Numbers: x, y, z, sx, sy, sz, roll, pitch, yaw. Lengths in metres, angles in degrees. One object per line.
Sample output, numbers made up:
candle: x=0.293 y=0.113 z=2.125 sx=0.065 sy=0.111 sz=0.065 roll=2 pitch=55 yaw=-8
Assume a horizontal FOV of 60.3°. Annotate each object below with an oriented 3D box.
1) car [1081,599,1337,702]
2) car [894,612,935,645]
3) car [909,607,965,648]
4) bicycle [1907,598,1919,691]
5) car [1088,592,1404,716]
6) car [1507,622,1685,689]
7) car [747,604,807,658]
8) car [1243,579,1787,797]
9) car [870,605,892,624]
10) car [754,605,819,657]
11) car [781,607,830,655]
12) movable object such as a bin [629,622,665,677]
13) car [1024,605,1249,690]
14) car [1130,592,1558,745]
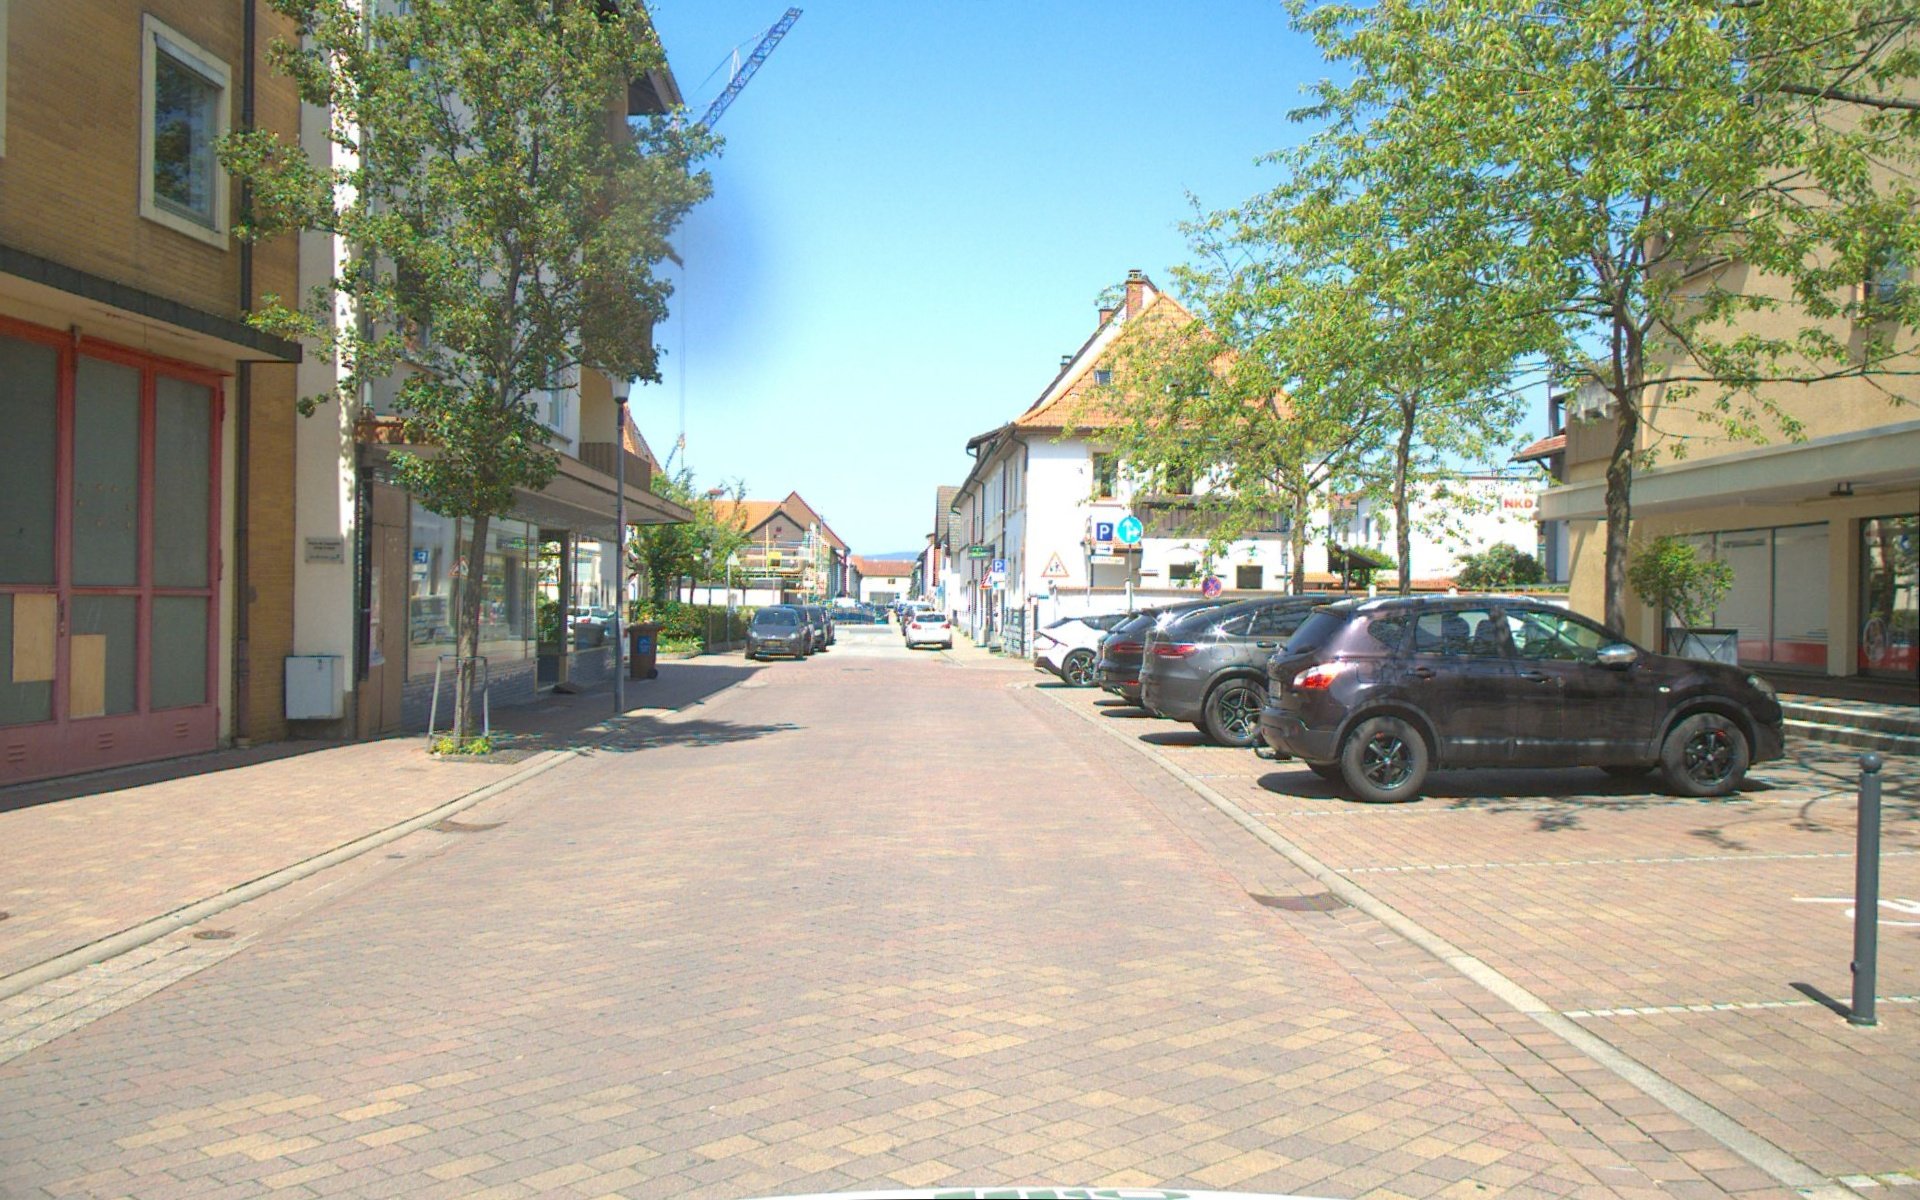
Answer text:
car: x=4.022 y=0.799 z=27.152 sx=3.865 sy=1.561 sz=1.823 roll=-1 pitch=-1 yaw=-3
car: x=-2.440 y=1.502 z=87.750 sx=1.848 sy=1.583 sz=3.890 roll=-2 pitch=0 yaw=-5
car: x=-0.911 y=1.099 z=67.794 sx=1.847 sy=1.569 sz=4.245 roll=1 pitch=0 yaw=5
bicycle: x=12.005 y=0.543 z=19.709 sx=0.404 sy=1.143 sz=1.774 roll=2 pitch=-1 yaw=0
car: x=4.071 y=0.750 z=24.014 sx=4.194 sy=1.710 sz=1.999 roll=0 pitch=-1 yaw=-4
car: x=14.964 y=1.291 z=39.007 sx=3.541 sy=1.477 sz=1.654 roll=1 pitch=0 yaw=-2
car: x=-5.406 y=0.890 z=49.162 sx=1.669 sy=1.523 sz=3.852 roll=1 pitch=0 yaw=-6
car: x=4.493 y=0.693 z=13.770 sx=3.945 sy=1.640 sz=1.680 roll=-1 pitch=-1 yaw=-2
car: x=-7.184 y=1.292 z=149.980 sx=1.844 sy=1.697 sz=4.150 roll=1 pitch=0 yaw=-3
car: x=-5.734 y=0.998 z=54.963 sx=1.778 sy=1.633 sz=4.023 roll=1 pitch=0 yaw=-1
car: x=-5.641 y=1.113 z=60.644 sx=1.605 sy=1.657 sz=3.766 roll=1 pitch=0 yaw=-3
movable object such as a bin: x=-6.319 y=0.998 z=33.413 sx=0.643 sy=1.089 sz=0.662 roll=2 pitch=-1 yaw=-8
car: x=3.588 y=0.968 z=34.063 sx=4.353 sy=1.603 sz=1.787 roll=1 pitch=-1 yaw=-5
car: x=4.213 y=0.740 z=18.688 sx=4.415 sy=1.616 sz=1.850 roll=0 pitch=0 yaw=1
